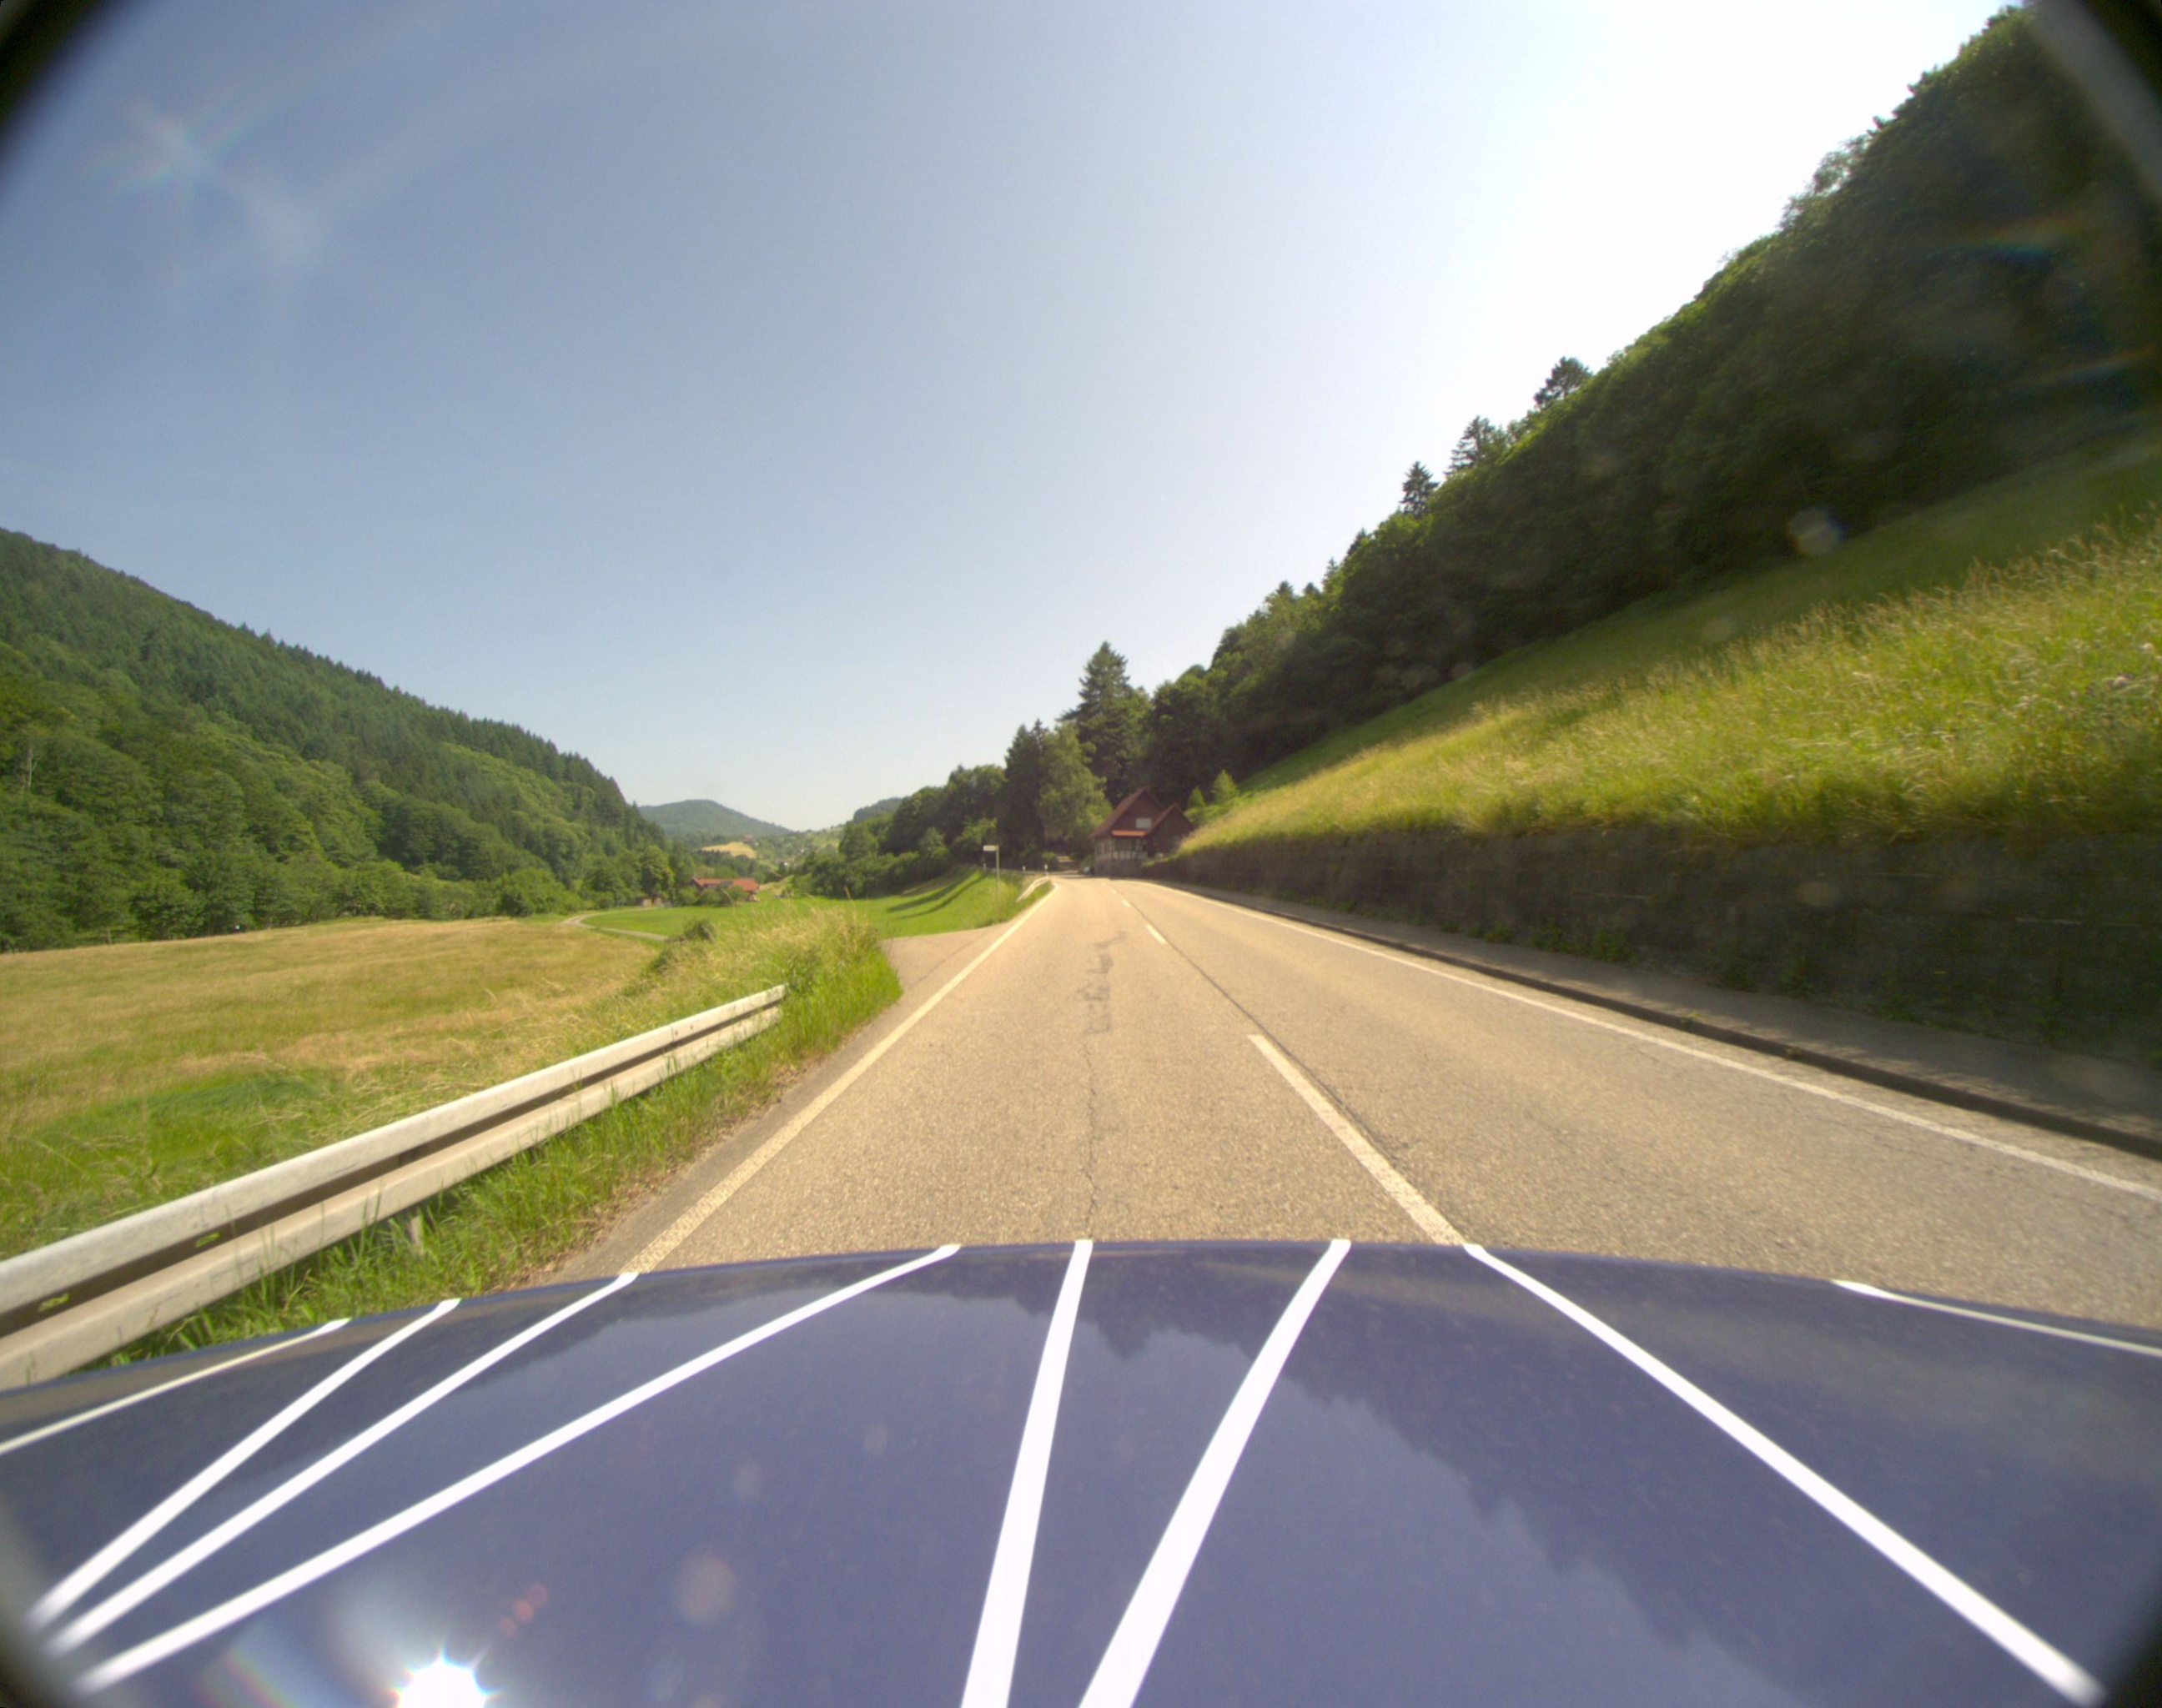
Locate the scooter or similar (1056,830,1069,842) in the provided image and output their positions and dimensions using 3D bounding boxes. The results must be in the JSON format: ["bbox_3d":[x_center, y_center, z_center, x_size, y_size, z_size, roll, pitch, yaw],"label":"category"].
[{"bbox_3d":[-3.525,-3.415,144.957,1.984,2.015,4.402,-5,1,-6],"label":"scooter or similar"}]

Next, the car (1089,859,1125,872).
[{"bbox_3d":[3.010,1.339,88.118,3.830,1.424,1.861,0,1,-13],"label":"car"}]

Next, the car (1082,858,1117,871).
[{"bbox_3d":[2.203,1.280,90.205,3.830,1.408,1.855,-1,-1,-14],"label":"car"}]

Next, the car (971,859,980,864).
[{"bbox_3d":[-32.015,2.301,230.537,1.772,1.388,4.138,-2,1,-17],"label":"car"}]
